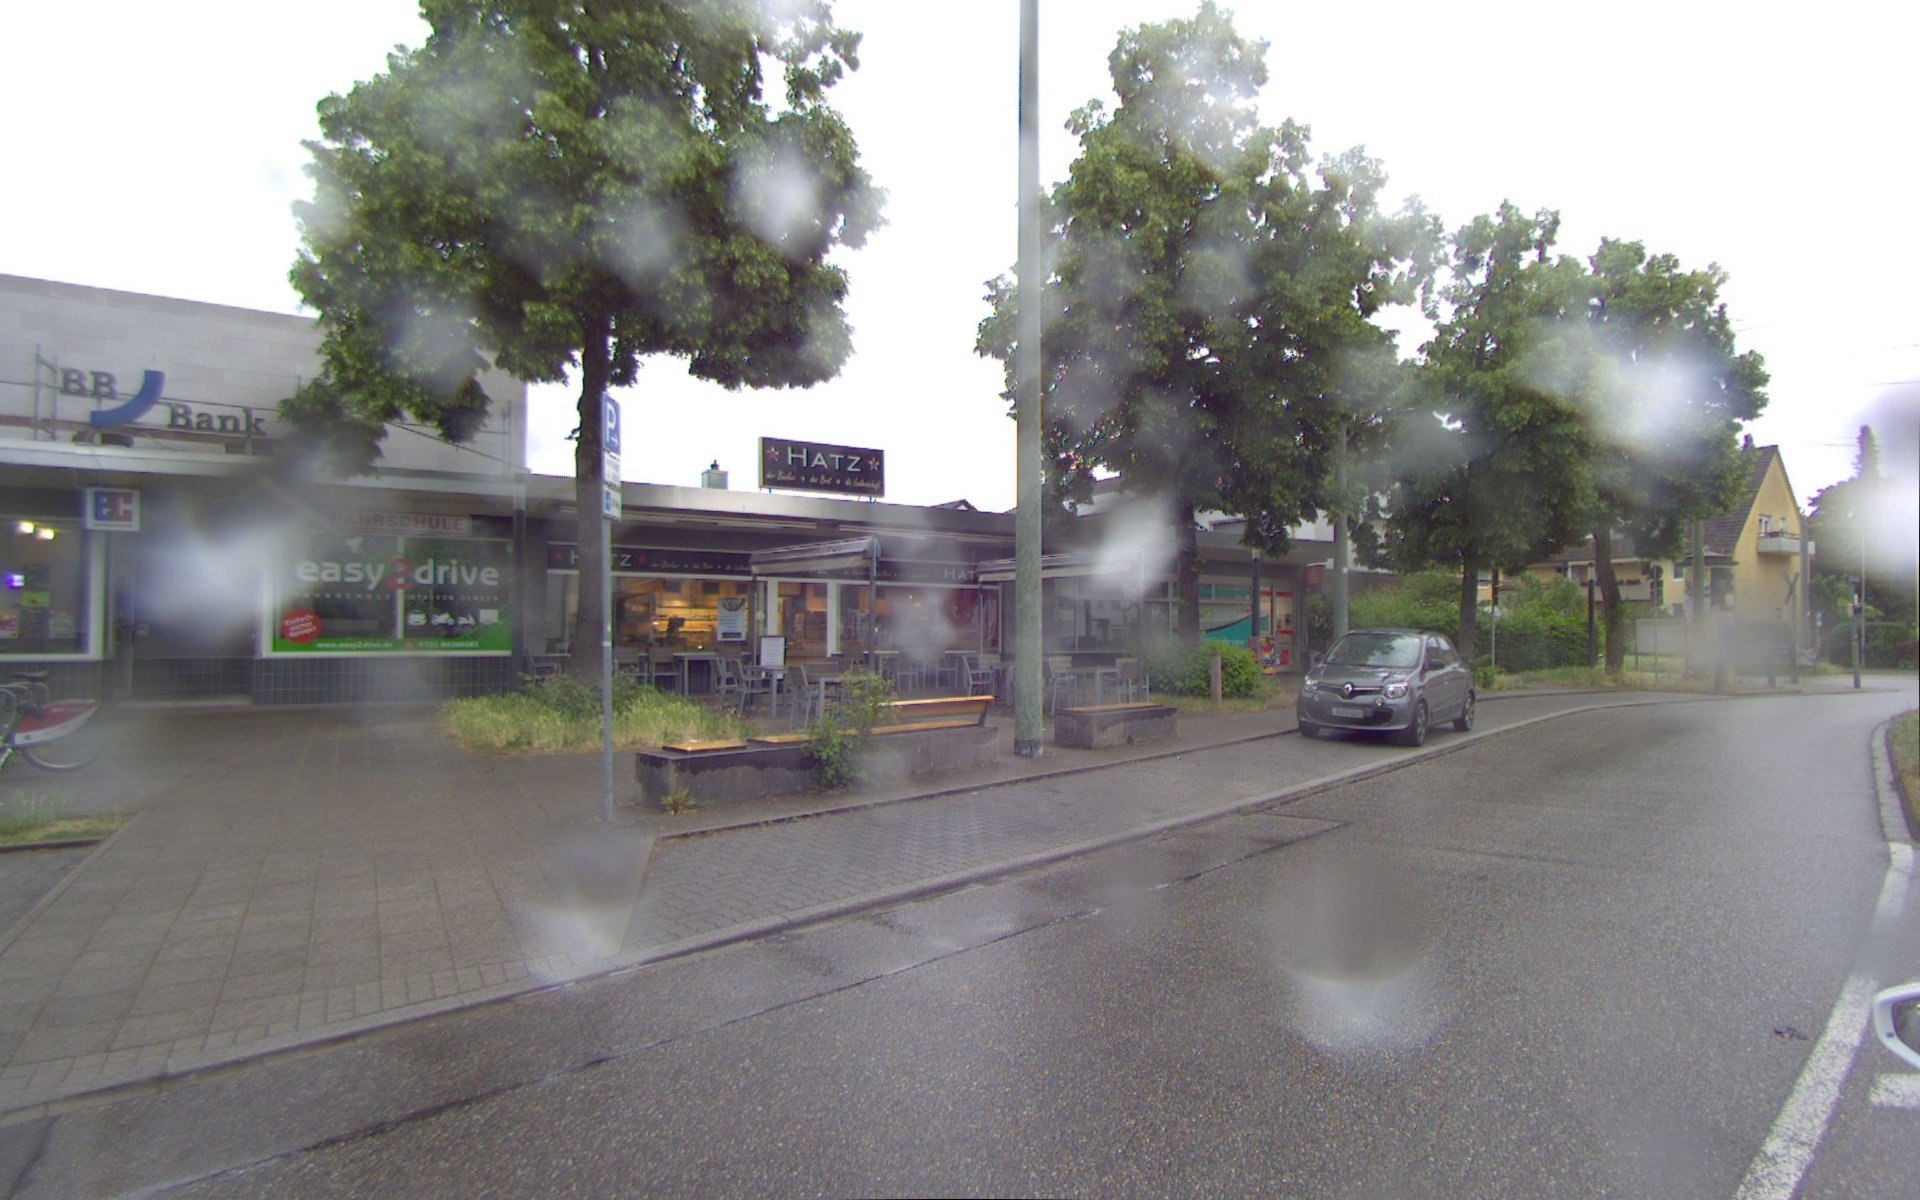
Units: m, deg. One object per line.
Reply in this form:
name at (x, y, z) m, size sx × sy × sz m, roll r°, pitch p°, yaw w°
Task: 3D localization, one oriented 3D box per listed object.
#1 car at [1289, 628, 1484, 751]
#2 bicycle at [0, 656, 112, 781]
car at (6.379, 1.212, 14.829) m, size 1.598 × 1.516 × 3.649 m, roll 2°, pitch 0°, yaw 40°
bicycle at (-8.996, 1.101, 9.271) m, size 0.314 × 1.122 × 1.739 m, roll 2°, pitch 0°, yaw 43°
